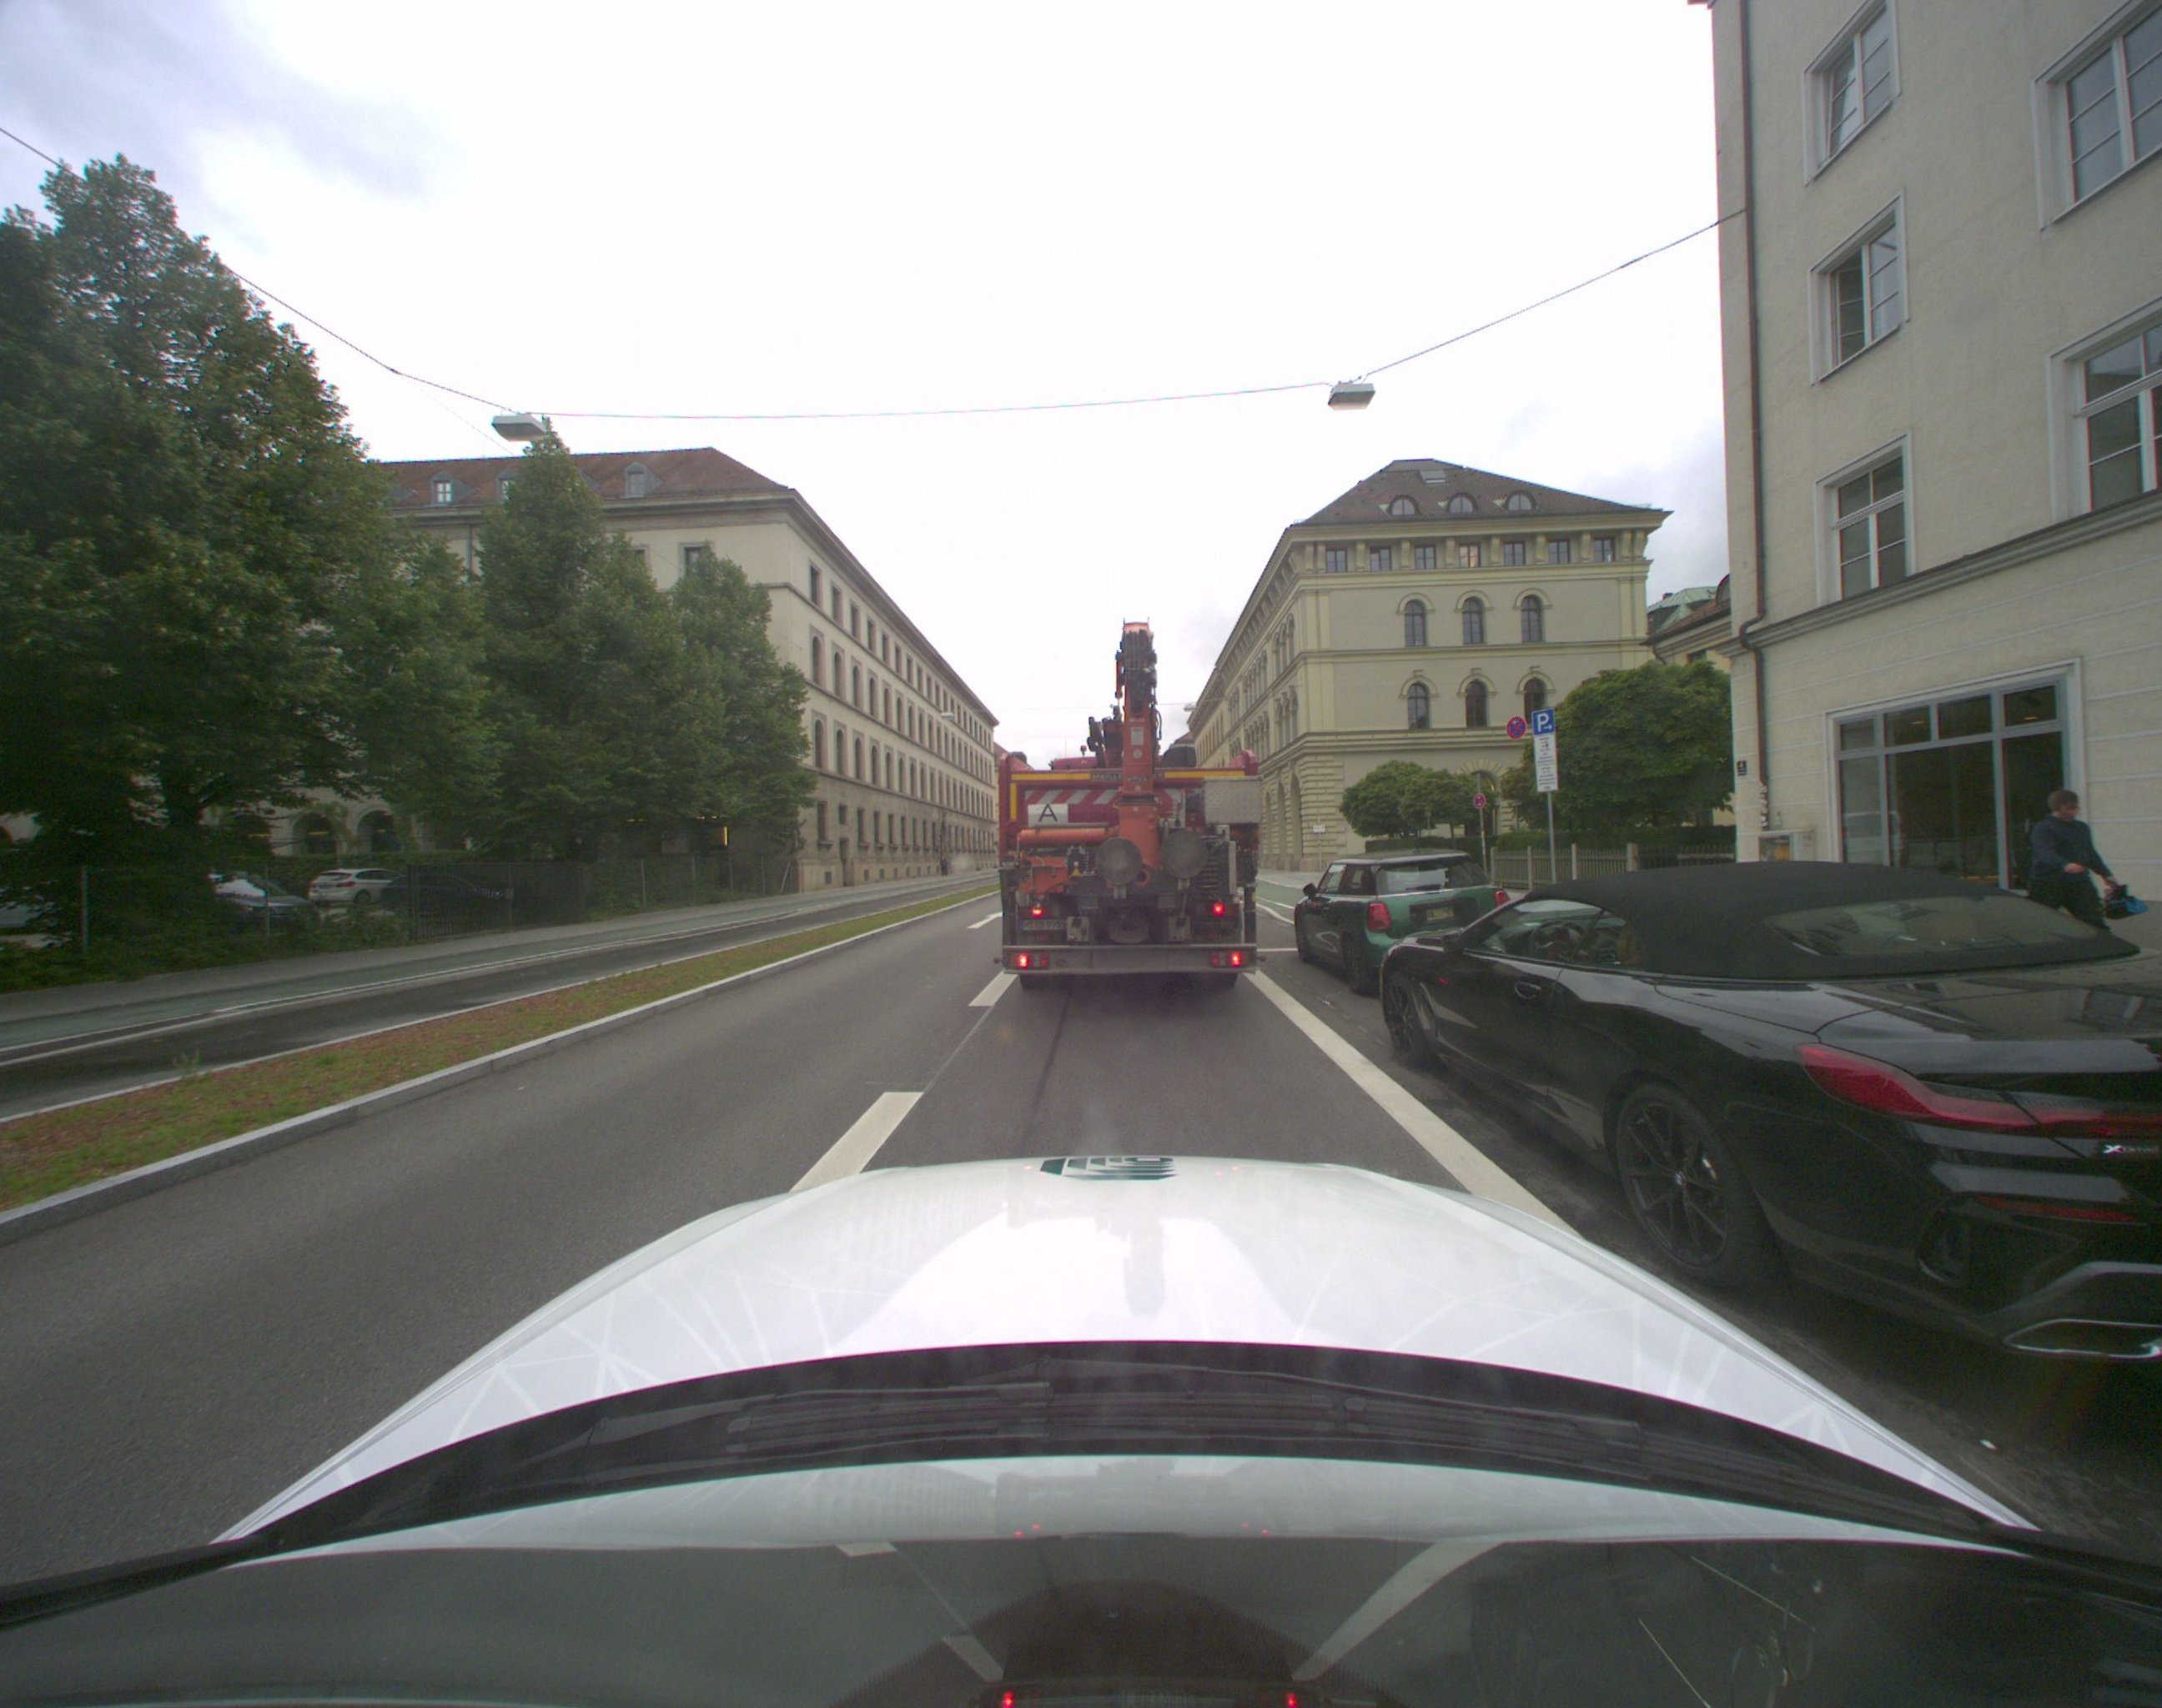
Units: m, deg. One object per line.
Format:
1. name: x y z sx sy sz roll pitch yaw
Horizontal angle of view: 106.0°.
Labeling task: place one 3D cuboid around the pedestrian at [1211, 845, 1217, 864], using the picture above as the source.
1. pedestrian: 13.063 0.051 79.782 0.444 1.836 0.556 -2 0 3

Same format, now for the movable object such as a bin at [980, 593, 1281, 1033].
1. movable object such as a bin: 0.488 -0.346 9.713 2.414 3.611 5.853 -1 0 1

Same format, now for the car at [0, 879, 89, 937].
1. car: -31.398 1.582 22.898 1.824 1.545 4.178 -1 0 1

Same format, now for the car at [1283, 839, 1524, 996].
1. car: 3.605 0.625 9.747 1.604 1.495 3.426 -2 0 2

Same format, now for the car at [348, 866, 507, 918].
1. car: -22.389 1.278 28.011 3.914 1.545 1.836 -2 0 0

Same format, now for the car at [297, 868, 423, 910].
1. car: -30.810 1.452 34.964 1.824 1.545 3.941 -1 0 1

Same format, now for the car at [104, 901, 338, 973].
1. car: -21.635 2.060 20.607 3.914 1.545 1.836 -1 0 0

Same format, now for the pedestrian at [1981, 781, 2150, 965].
1. pedestrian: 10.361 0.192 8.605 0.787 1.836 0.778 -2 0 3

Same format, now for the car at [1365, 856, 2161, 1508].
1. car: 2.942 0.738 4.012 1.673 1.386 4.429 -2 0 2

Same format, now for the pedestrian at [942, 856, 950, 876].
1. pedestrian: -12.299 1.069 74.296 0.586 1.831 0.499 -1 0 1
